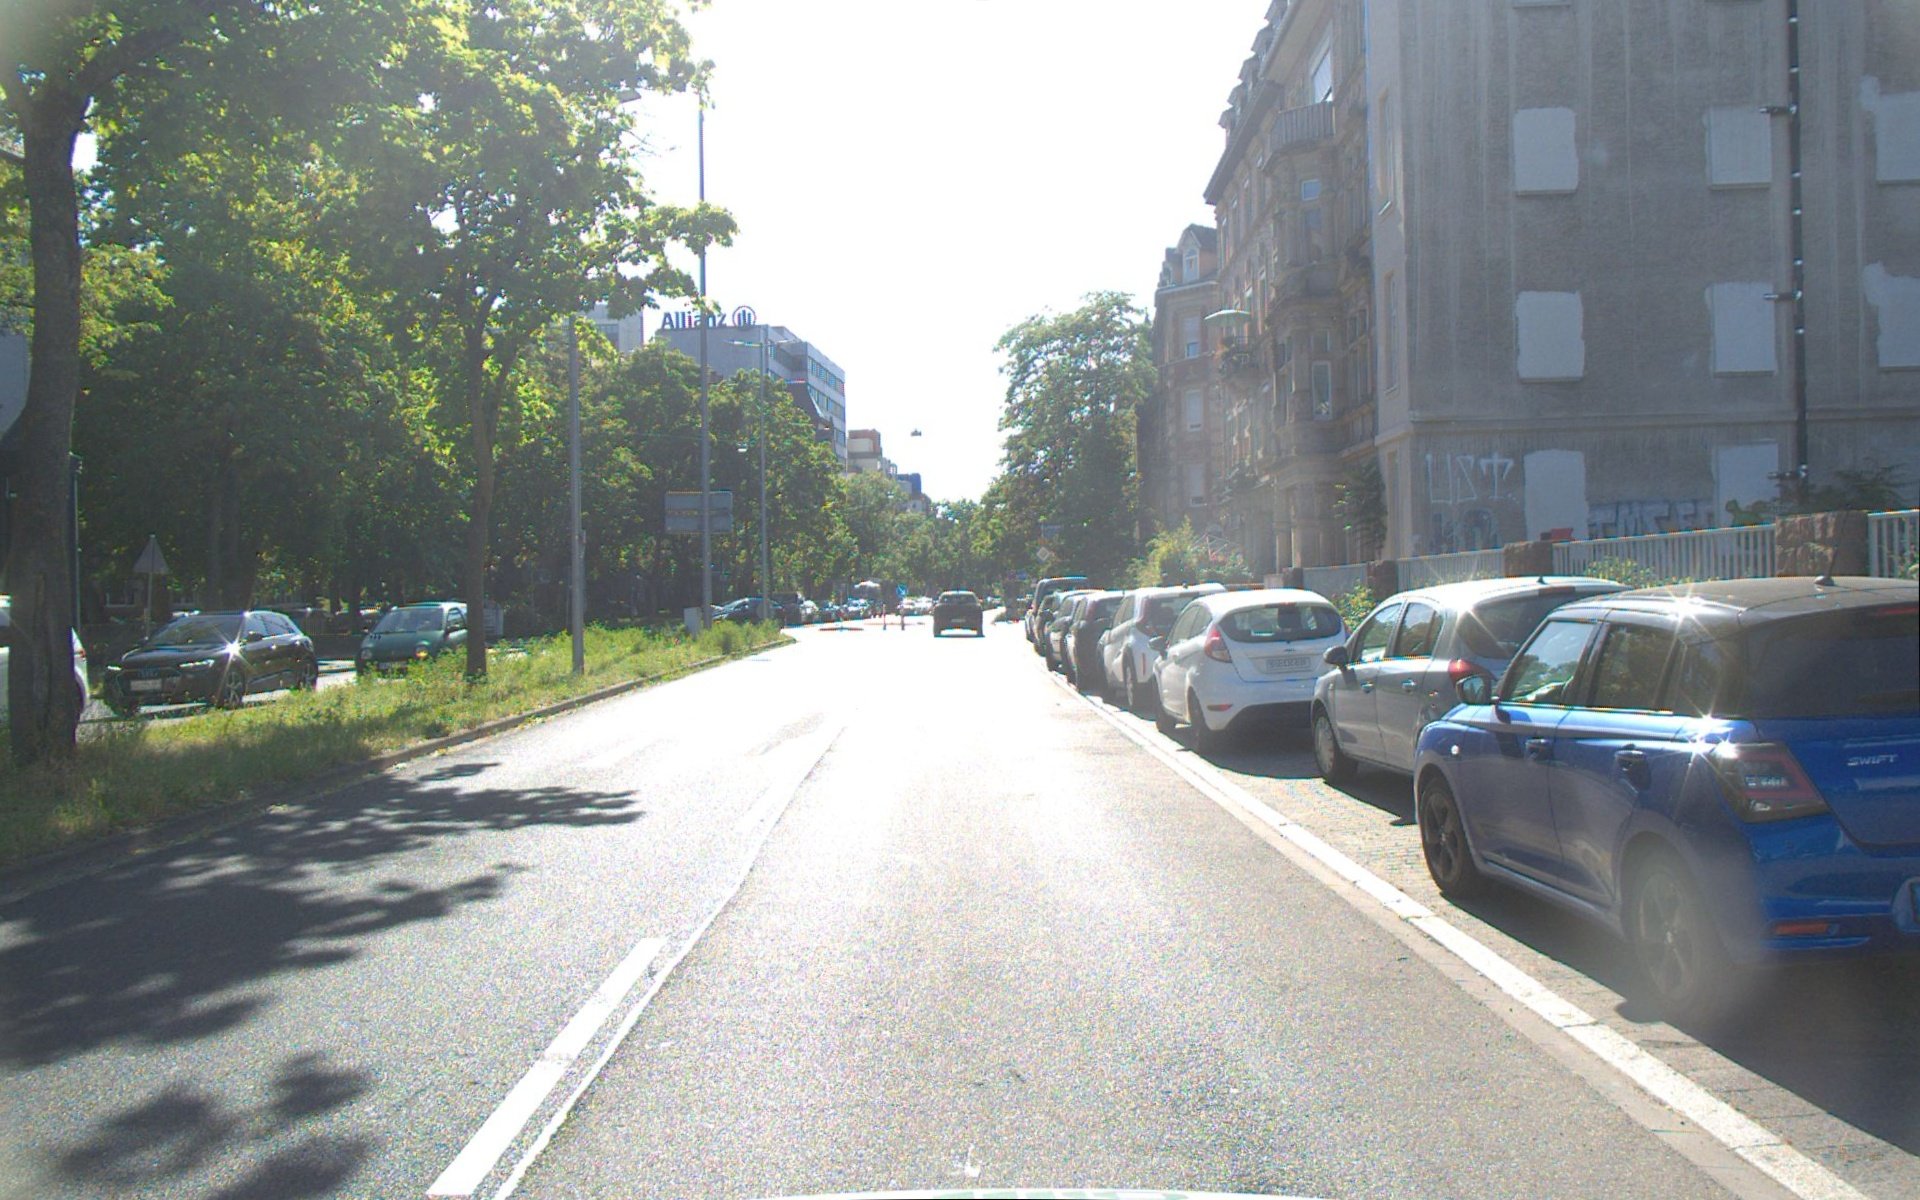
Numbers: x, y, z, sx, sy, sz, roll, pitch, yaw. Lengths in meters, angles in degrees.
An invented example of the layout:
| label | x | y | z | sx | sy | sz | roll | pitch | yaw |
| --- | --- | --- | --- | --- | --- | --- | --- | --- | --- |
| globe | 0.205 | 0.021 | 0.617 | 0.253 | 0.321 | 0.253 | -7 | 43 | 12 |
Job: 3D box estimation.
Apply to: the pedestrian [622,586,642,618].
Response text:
| label | x | y | z | sx | sy | sz | roll | pitch | yaw |
| --- | --- | --- | --- | --- | --- | --- | --- | --- | --- |
| pedestrian | -17.252 | 0.115 | 87.011 | 0.656 | 1.655 | 0.713 | -1 | 0 | 33 |

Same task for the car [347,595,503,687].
| label | x | y | z | sx | sy | sz | roll | pitch | yaw |
| --- | --- | --- | --- | --- | --- | --- | --- | --- | --- |
| car | -9.972 | 0.706 | 31.150 | 1.605 | 1.545 | 4.257 | -2 | 0 | -2 |

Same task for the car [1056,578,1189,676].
| label | x | y | z | sx | sy | sz | roll | pitch | yaw |
| --- | --- | --- | --- | --- | --- | --- | --- | --- | --- |
| car | 2.543 | 0.382 | 26.587 | 1.634 | 1.418 | 3.774 | -2 | 1 | -2 |

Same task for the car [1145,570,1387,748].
| label | x | y | z | sx | sy | sz | roll | pitch | yaw |
| --- | --- | --- | --- | --- | --- | --- | --- | --- | --- |
| car | 2.961 | 0.500 | 16.701 | 1.576 | 1.471 | 3.658 | -5 | 1 | -2 |

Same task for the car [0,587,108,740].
| label | x | y | z | sx | sy | sz | roll | pitch | yaw |
| --- | --- | --- | --- | --- | --- | --- | --- | --- | --- |
| car | -11.357 | 0.730 | 17.996 | 1.862 | 1.654 | 4.535 | -2 | 0 | -2 |

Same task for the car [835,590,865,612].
| label | x | y | z | sx | sy | sz | roll | pitch | yaw |
| --- | --- | --- | --- | --- | --- | --- | --- | --- | --- |
| car | -8.004 | 0.052 | 120.695 | 1.491 | 1.457 | 3.340 | -2 | 1 | 7 |

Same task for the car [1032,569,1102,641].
| label | x | y | z | sx | sy | sz | roll | pitch | yaw |
| --- | --- | --- | --- | --- | --- | --- | --- | --- | --- |
| car | 2.941 | 0.108 | 46.368 | 1.781 | 1.876 | 4.365 | -2 | 1 | 2 |

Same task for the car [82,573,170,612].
| label | x | y | z | sx | sy | sz | roll | pitch | yaw |
| --- | --- | --- | --- | --- | --- | --- | --- | --- | --- |
| car | -36.579 | -0.320 | 72.658 | 1.807 | 1.517 | 3.999 | 0 | -3 | 0 |

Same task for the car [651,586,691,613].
| label | x | y | z | sx | sy | sz | roll | pitch | yaw |
| --- | --- | --- | --- | --- | --- | --- | --- | --- | --- |
| car | -19.487 | -0.043 | 111.508 | 1.946 | 1.691 | 3.976 | -2 | 1 | -20 |

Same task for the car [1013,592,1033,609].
| label | x | y | z | sx | sy | sz | roll | pitch | yaw |
| --- | --- | --- | --- | --- | --- | --- | --- | --- | --- |
| car | 6.714 | 0.049 | 176.417 | 1.880 | 1.668 | 4.003 | -2 | 0 | 6 |

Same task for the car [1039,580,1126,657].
| label | x | y | z | sx | sy | sz | roll | pitch | yaw |
| --- | --- | --- | --- | --- | --- | --- | --- | --- | --- |
| car | 2.697 | 0.376 | 36.946 | 1.589 | 1.496 | 3.299 | 4 | 1 | -1 |

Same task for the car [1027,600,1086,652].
| label | x | y | z | sx | sy | sz | roll | pitch | yaw |
| --- | --- | --- | --- | --- | --- | --- | --- | --- | --- |
| car | 3.030 | 0.786 | 52.592 | 1.674 | 1.450 | 4.207 | 2 | 1 | 1 |

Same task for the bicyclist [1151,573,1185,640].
| label | x | y | z | sx | sy | sz | roll | pitch | yaw |
| --- | --- | --- | --- | --- | --- | --- | --- | --- | --- |
| bicyclist | 5.140 | 0.152 | 40.865 | 0.726 | 1.607 | 1.100 | 0 | 1 | 1 |

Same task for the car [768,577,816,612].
| label | x | y | z | sx | sy | sz | roll | pitch | yaw |
| --- | --- | --- | --- | --- | --- | --- | --- | --- | --- |
| car | -10.117 | -0.340 | 99.749 | 2.153 | 1.963 | 4.864 | -2 | 1 | 2 |

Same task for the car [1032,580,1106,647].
| label | x | y | z | sx | sy | sz | roll | pitch | yaw |
| --- | --- | --- | --- | --- | --- | --- | --- | --- | --- |
| car | 2.641 | 0.285 | 40.738 | 1.633 | 1.493 | 4.275 | -2 | 1 | 2 |

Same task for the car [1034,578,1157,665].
| label | x | y | z | sx | sy | sz | roll | pitch | yaw |
| --- | --- | --- | --- | --- | --- | --- | --- | --- | --- |
| car | 2.594 | 0.362 | 32.668 | 1.896 | 1.545 | 4.483 | -2 | 1 | -2 |

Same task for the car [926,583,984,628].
| label | x | y | z | sx | sy | sz | roll | pitch | yaw |
| --- | --- | --- | --- | --- | --- | --- | --- | --- | --- |
| car | -0.217 | 0.173 | 58.548 | 1.857 | 1.545 | 3.998 | 1 | 0 | -3 |

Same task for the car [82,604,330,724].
| label | x | y | z | sx | sy | sz | roll | pitch | yaw |
| --- | --- | --- | --- | --- | --- | --- | --- | --- | --- |
| car | -11.105 | 0.892 | 24.685 | 1.759 | 1.545 | 4.086 | -3 | -1 | 0 |

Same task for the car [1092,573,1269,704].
| label | x | y | z | sx | sy | sz | roll | pitch | yaw |
| --- | --- | --- | --- | --- | --- | --- | --- | --- | --- |
| car | 2.853 | 0.447 | 22.128 | 1.635 | 1.545 | 3.659 | -2 | 1 | -4 |

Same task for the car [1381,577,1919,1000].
| label | x | y | z | sx | sy | sz | roll | pitch | yaw |
| --- | --- | --- | --- | --- | --- | --- | --- | --- | --- |
| car | 3.249 | 0.568 | 7.207 | 1.635 | 1.203 | 3.899 | -5 | 1 | -2 |

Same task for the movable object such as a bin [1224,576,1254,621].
| label | x | y | z | sx | sy | sz | roll | pitch | yaw |
| --- | --- | --- | --- | --- | --- | --- | --- | --- | --- |
| movable object such as a bin | 7.549 | -0.037 | 44.738 | 0.707 | 1.177 | 0.608 | 0 | -3 | 1 |

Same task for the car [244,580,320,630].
| label | x | y | z | sx | sy | sz | roll | pitch | yaw |
| --- | --- | --- | --- | --- | --- | --- | --- | --- | --- |
| car | -34.804 | 0.297 | 85.048 | 1.807 | 2.365 | 4.984 | 0 | -3 | 0 |

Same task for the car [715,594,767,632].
| label | x | y | z | sx | sy | sz | roll | pitch | yaw |
| --- | --- | --- | --- | --- | --- | --- | --- | --- | --- |
| car | -9.359 | 0.548 | 71.042 | 1.759 | 1.545 | 4.422 | 0 | 0 | -2 |

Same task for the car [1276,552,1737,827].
| label | x | y | z | sx | sy | sz | roll | pitch | yaw |
| --- | --- | --- | --- | --- | --- | --- | --- | --- | --- |
| car | 3.621 | 0.506 | 11.761 | 1.635 | 1.485 | 3.983 | -5 | 1 | -4 |

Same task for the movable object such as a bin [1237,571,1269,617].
| label | x | y | z | sx | sy | sz | roll | pitch | yaw |
| --- | --- | --- | --- | --- | --- | --- | --- | --- | --- |
| movable object such as a bin | 7.744 | -0.148 | 43.786 | 0.743 | 1.177 | 0.608 | 0 | -3 | 1 |
